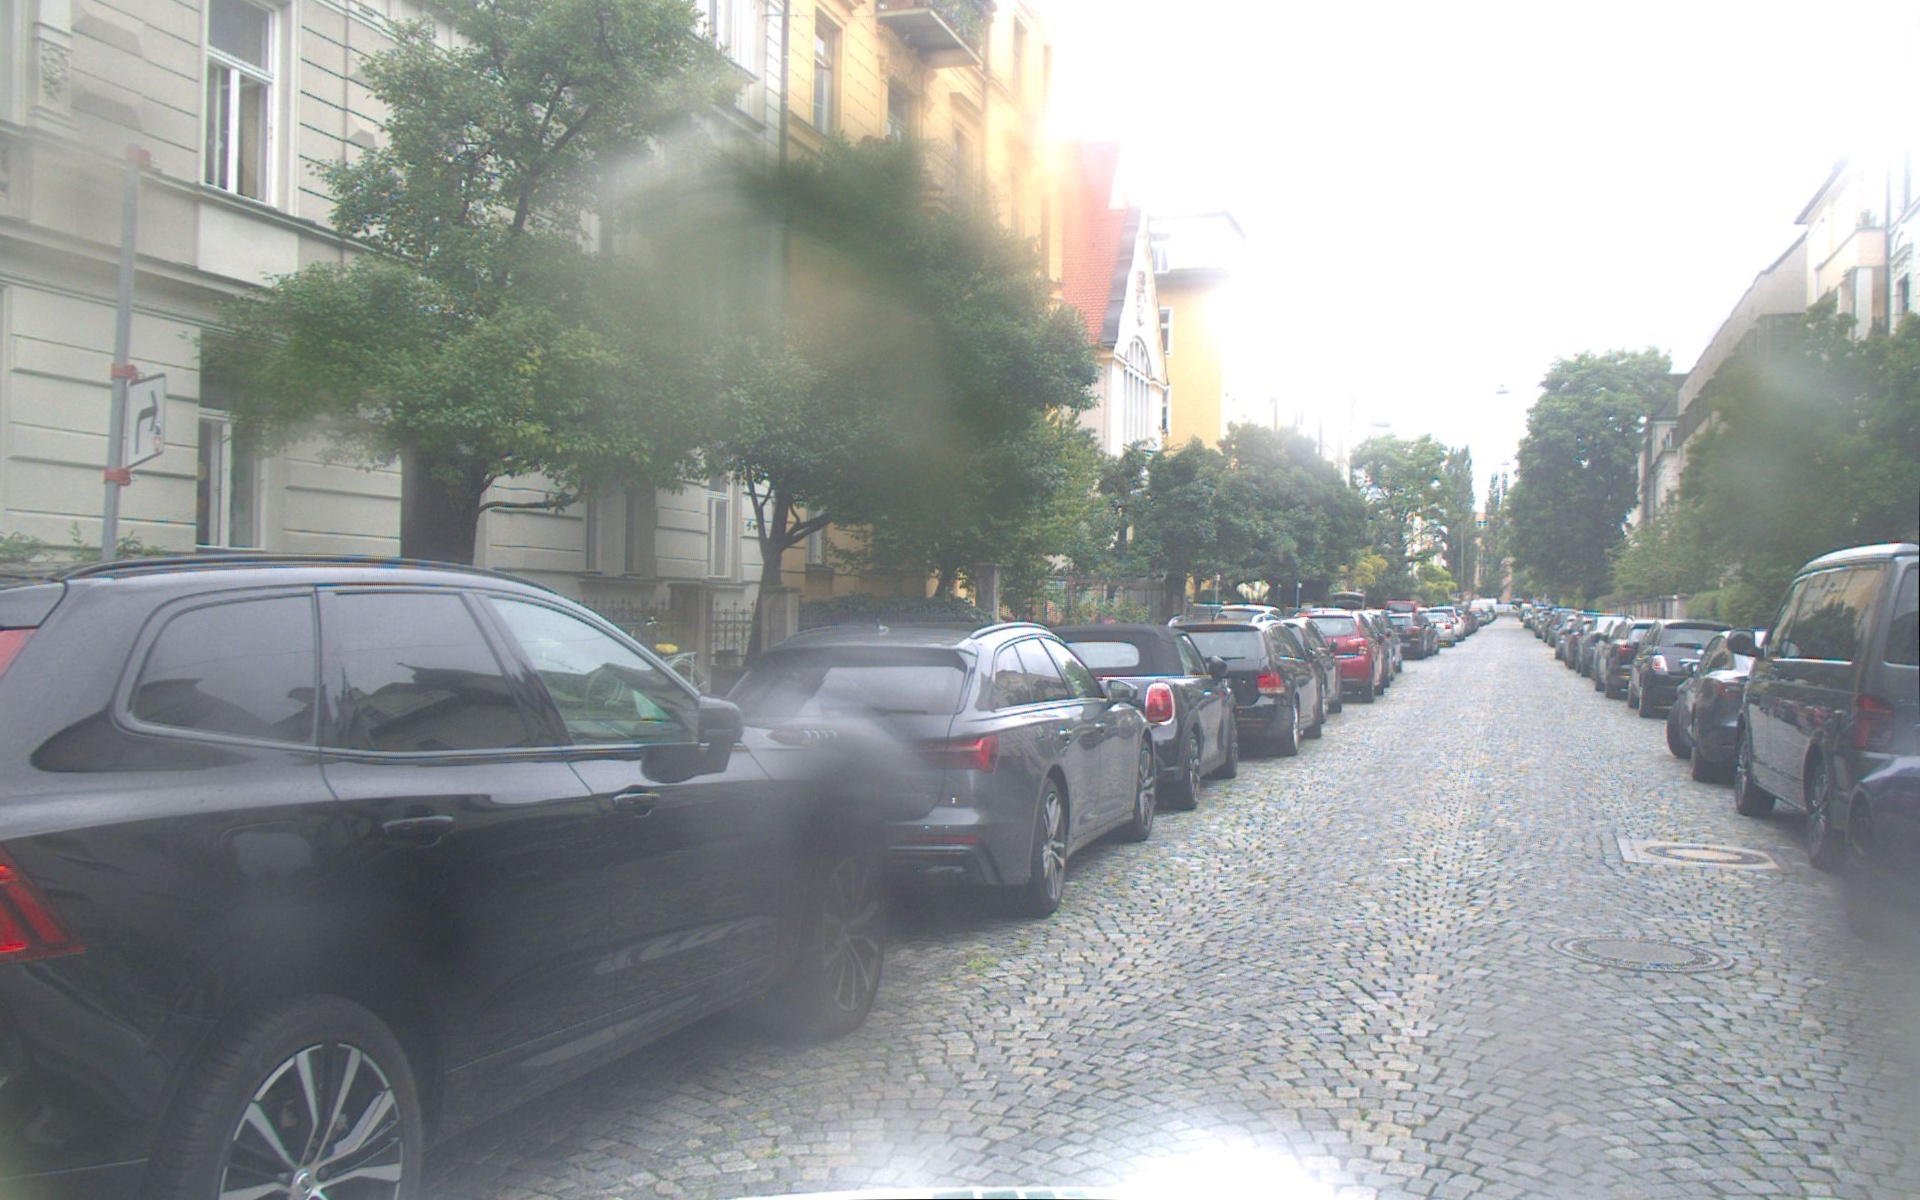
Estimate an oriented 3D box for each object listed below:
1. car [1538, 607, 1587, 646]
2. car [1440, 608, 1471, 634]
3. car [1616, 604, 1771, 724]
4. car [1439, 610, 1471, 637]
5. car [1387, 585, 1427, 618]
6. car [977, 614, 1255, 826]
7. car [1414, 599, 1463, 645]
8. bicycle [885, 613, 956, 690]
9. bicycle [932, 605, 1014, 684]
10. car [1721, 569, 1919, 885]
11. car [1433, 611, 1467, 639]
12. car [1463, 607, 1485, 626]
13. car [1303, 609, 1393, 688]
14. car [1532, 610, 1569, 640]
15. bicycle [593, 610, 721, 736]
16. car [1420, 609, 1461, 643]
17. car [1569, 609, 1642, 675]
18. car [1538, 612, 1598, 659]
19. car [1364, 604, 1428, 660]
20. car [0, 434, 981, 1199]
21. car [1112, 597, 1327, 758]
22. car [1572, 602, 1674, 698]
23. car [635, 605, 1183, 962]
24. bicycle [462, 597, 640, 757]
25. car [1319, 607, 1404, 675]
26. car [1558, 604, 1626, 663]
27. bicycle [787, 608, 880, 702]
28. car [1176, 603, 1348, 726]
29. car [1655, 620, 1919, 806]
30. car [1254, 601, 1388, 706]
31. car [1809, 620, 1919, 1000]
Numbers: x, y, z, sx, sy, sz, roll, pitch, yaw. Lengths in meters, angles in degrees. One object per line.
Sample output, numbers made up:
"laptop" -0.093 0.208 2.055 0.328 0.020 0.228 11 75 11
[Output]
"car" 27.835 1.214 76.469 1.881 1.664 3.741 -3 -2 17
"car" 34.324 1.450 114.543 1.881 1.664 3.741 -3 -2 17
"car" 11.619 0.969 26.435 1.882 1.663 4.047 3 0 19
"car" 32.488 1.537 108.582 1.881 1.664 3.741 -3 -2 17
"car" 24.576 0.121 90.913 1.881 1.664 3.741 -3 -2 17
"car" 1.479 0.925 14.296 1.667 1.543 3.729 -1 0 17
"car" 20.963 0.959 72.385 1.881 1.871 3.741 -3 -2 17
"bicycle" -0.544 0.722 23.664 0.409 1.045 1.765 2 0 19
"bicycle" 0.218 0.674 25.347 0.410 1.163 1.761 2 0 30
"car" 6.539 0.706 11.153 1.979 1.720 4.852 1 0 18
"car" 30.752 1.580 103.718 1.881 1.664 3.741 -3 -2 17
"car" 48.869 1.608 157.247 1.881 1.664 3.741 -3 -2 17
"car" 7.867 0.972 33.420 1.402 1.485 2.651 -3 -2 20
"car" 35.559 1.520 99.690 1.881 1.664 3.741 -3 -2 17
"bicycle" -2.947 0.681 16.263 0.355 1.152 1.888 2 0 18
"car" 24.655 1.330 84.833 1.881 1.664 3.741 -3 -2 17
"car" 16.022 1.028 41.029 1.564 1.529 3.261 -3 -2 22
"car" 20.385 1.185 55.518 1.625 1.491 3.450 -3 -2 17
"car" 13.928 1.010 52.808 1.881 1.664 3.741 1 -1 16
"car" -1.621 0.670 4.839 1.897 1.681 5.056 -3 -2 18
"car" 3.053 0.823 18.719 1.690 1.567 4.338 -3 -2 18
"car" 12.191 0.886 30.554 1.626 1.664 3.539 0 -1 20
"car" 0.070 0.819 9.853 1.766 1.531 5.181 -2 -1 16
"bicycle" -3.482 0.630 14.281 0.490 1.270 1.980 2 0 18
"car" 9.663 0.958 39.672 1.626 1.561 3.485 0 -1 20
"car" 19.276 1.018 50.571 1.625 1.664 3.450 -3 -2 17
"bicycle" -1.570 0.664 20.755 0.363 1.121 1.833 1 0 22
"car" 4.470 0.907 24.018 1.881 1.573 4.001 -3 -2 18
"car" 8.165 0.990 16.521 1.882 1.459 4.802 3 1 19
"car" 6.425 0.915 29.156 1.881 1.664 3.807 -3 -2 18
"car" 4.768 0.884 6.282 1.889 1.533 4.877 3 0 17
